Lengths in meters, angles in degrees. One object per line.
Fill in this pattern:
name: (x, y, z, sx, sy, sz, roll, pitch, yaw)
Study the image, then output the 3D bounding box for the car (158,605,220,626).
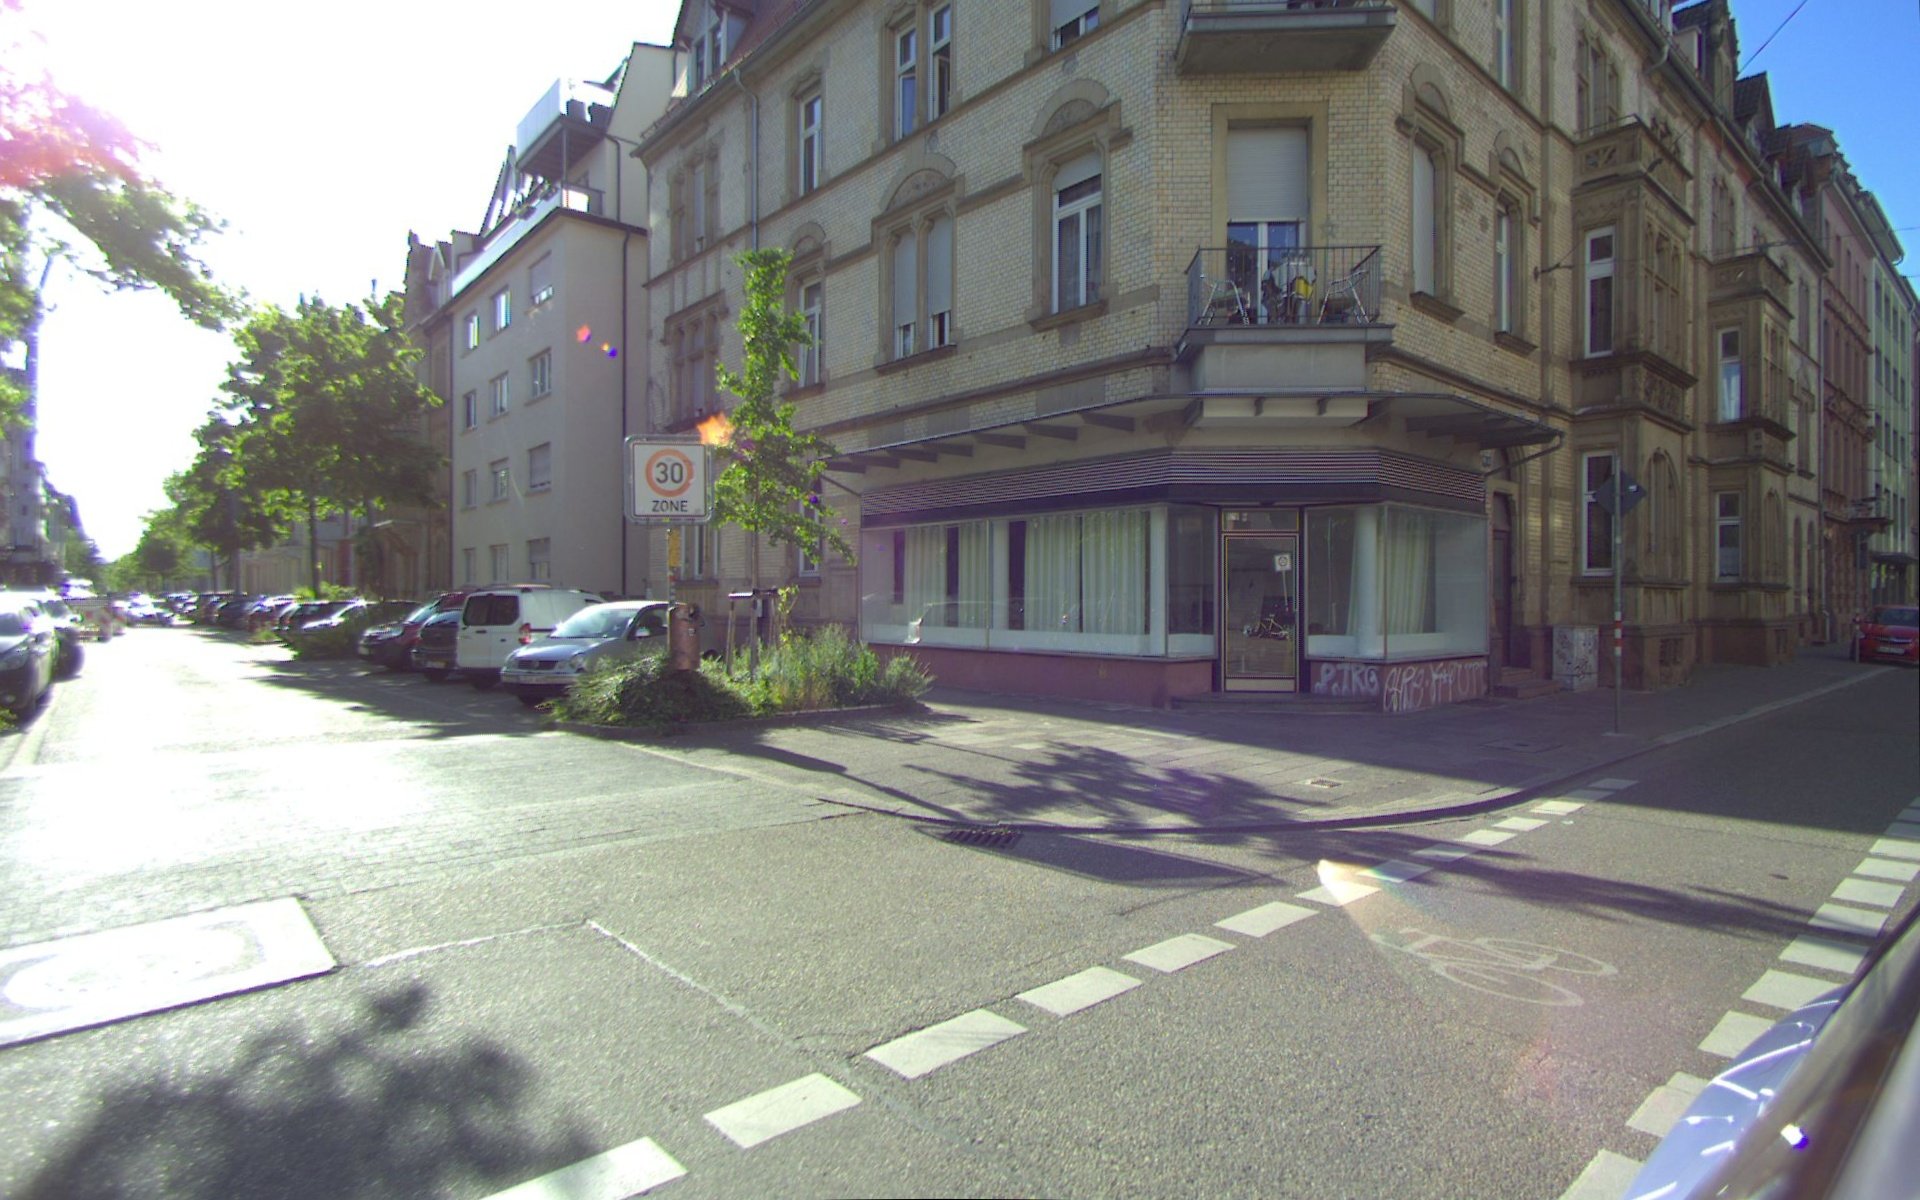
car: (-63.639, 1.278, 83.573, 1.767, 1.652, 3.892, -1, 0, 45)

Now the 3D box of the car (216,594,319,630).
car: (-33.329, 0.553, 48.732, 3.890, 1.652, 1.768, -1, 0, -43)

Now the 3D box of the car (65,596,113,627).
car: (-46.262, 0.566, 53.807, 1.681, 1.592, 3.997, 0, 0, -38)

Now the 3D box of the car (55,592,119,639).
car: (-34.446, 0.583, 40.022, 1.681, 1.773, 3.997, 0, 0, -38)

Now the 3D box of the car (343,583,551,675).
car: (-11.688, 0.599, 23.243, 1.762, 1.920, 3.903, -1, 0, 37)

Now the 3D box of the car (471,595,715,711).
car: (-5.462, 0.721, 15.536, 1.749, 1.552, 3.510, -1, 0, 18)

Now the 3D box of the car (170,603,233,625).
car: (-59.449, 1.104, 79.357, 3.883, 1.652, 1.771, -1, 0, -37)

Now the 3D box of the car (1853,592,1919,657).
car: (24.601, 0.589, 26.038, 4.325, 1.501, 1.869, -1, 3, -42)

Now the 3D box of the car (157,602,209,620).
car: (-73.543, 1.035, 95.844, 3.885, 1.652, 1.771, -1, 0, -39)

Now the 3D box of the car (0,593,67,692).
car: (-15.762, 0.666, 16.480, 1.682, 1.471, 3.994, -1, 0, -39)

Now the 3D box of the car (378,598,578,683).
car: (-9.614, 0.752, 20.470, 1.749, 1.552, 3.510, -1, 0, 18)

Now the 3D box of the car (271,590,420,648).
car: (-20.369, 0.578, 33.675, 1.762, 1.817, 3.904, -1, 0, 37)

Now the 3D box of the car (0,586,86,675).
car: (-19.103, 0.606, 20.684, 1.683, 1.591, 3.994, -5, 3, -39)

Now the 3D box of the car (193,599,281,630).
car: (-40.744, 0.819, 57.082, 3.890, 1.652, 1.768, -1, 0, -43)

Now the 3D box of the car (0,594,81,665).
car: (-22.925, 0.701, 24.972, 1.682, 1.592, 3.994, -3, 1, -39)

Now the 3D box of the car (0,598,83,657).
car: (-27.593, 0.789, 30.441, 1.682, 1.592, 3.994, -3, 1, -39)

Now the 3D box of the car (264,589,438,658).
car: (-17.231, 0.615, 28.775, 1.762, 1.817, 3.903, -1, 0, 37)

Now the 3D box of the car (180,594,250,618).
car: (-53.615, 0.449, 72.855, 3.890, 1.652, 1.768, -1, 0, -43)

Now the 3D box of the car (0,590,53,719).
car: (-12.627, 0.651, 12.690, 1.682, 1.471, 3.994, -1, 0, -39)

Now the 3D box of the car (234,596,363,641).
car: (-26.047, 0.687, 39.955, 1.762, 1.652, 3.904, -1, 0, 37)

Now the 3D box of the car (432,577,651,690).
car: (-7.547, 0.561, 18.629, 1.749, 1.853, 3.718, -1, 0, 18)

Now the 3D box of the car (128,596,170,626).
car: (-43.640, 0.561, 54.487, 1.681, 1.592, 3.997, 0, 0, -38)
